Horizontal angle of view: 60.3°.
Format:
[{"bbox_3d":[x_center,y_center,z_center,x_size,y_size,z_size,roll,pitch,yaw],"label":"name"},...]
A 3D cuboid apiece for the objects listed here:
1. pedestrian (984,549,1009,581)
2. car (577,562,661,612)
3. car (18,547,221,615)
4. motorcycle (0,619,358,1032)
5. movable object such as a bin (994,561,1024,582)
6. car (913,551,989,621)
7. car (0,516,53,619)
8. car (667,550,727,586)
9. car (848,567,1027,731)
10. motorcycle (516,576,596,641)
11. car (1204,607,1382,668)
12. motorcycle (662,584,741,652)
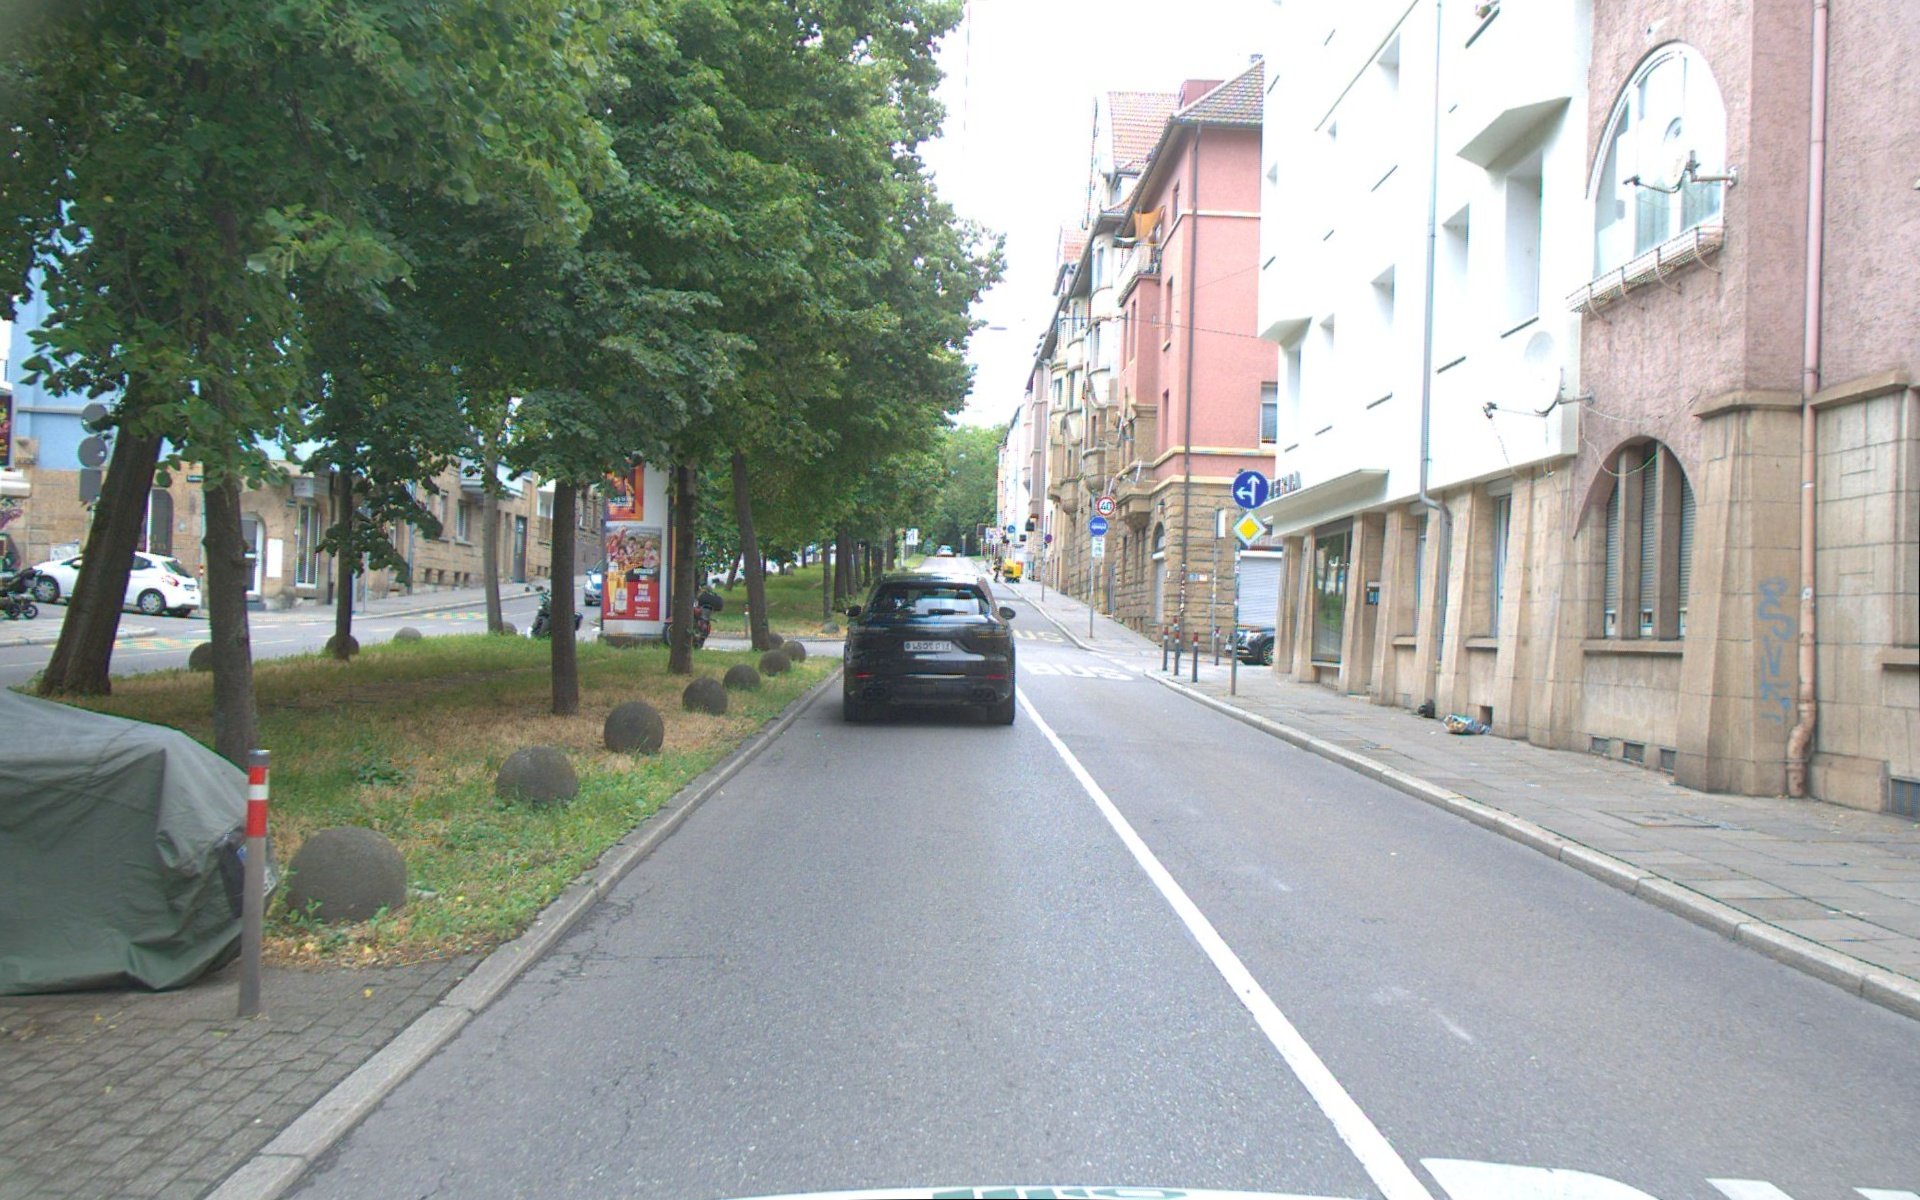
[{"bbox_3d":[2.400,-2.290,108.995,1.287,2.049,1.009,2,0,-31],"label":"pedestrian"},{"bbox_3d":[-11.981,-0.469,58.379,1.953,1.652,4.815,2,1,-1],"label":"car"},{"bbox_3d":[-20.542,-0.467,40.550,3.906,1.523,2.000,2,1,-1],"label":"car"},{"bbox_3d":[-3.458,0.713,5.762,2.308,1.257,1.033,2,0,-3],"label":"motorcycle"},{"bbox_3d":[3.183,-1.882,107.720,1.223,1.296,1.829,2,0,-29],"label":"movable object such as a bin"},{"bbox_3d":[-0.249,-0.390,46.122,1.953,1.784,4.000,2,0,0],"label":"car"},{"bbox_3d":[-22.679,-0.962,35.950,4.703,2.086,2.001,8,1,4],"label":"car"},{"bbox_3d":[-11.620,-1.406,73.292,1.953,1.509,4.531,2,1,-1],"label":"car"},{"bbox_3d":[-0.320,0.511,19.786,1.865,1.695,4.134,2,0,-2],"label":"car"},{"bbox_3d":[-7.298,0.171,29.987,0.882,1.126,2.251,1,-1,0],"label":"motorcycle"},{"bbox_3d":[8.211,0.920,40.819,3.938,1.400,1.983,1,1,-27],"label":"car"},{"bbox_3d":[-4.685,0.308,30.154,1.041,1.168,2.448,1,1,0],"label":"motorcycle"}]
